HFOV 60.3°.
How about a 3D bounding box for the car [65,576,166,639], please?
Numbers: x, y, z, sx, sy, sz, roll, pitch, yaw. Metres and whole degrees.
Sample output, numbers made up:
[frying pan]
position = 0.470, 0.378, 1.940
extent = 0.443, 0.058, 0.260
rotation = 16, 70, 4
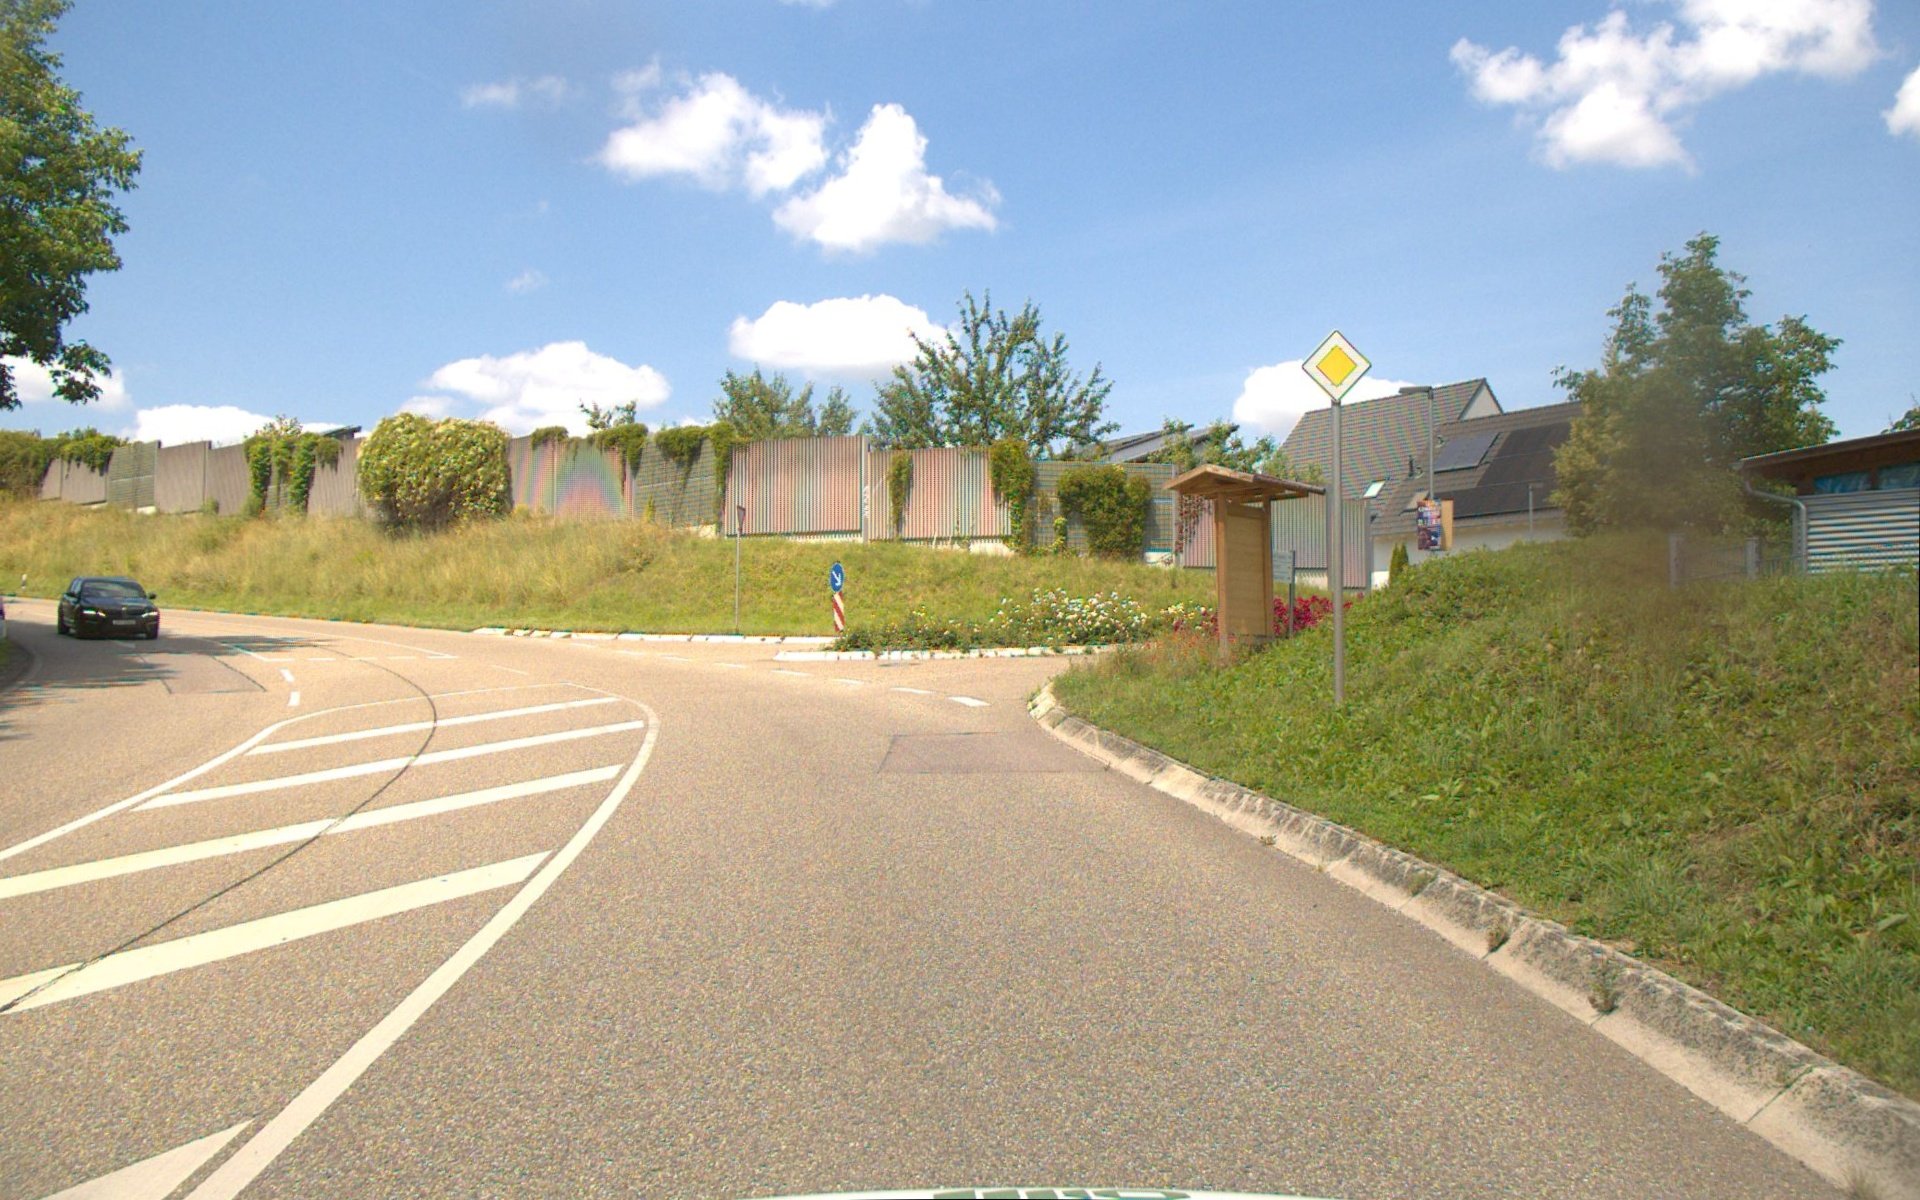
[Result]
[car]
position = -20.763, 0.175, 40.593
extent = 1.670, 1.444, 4.291
rotation = -1, 0, -35
